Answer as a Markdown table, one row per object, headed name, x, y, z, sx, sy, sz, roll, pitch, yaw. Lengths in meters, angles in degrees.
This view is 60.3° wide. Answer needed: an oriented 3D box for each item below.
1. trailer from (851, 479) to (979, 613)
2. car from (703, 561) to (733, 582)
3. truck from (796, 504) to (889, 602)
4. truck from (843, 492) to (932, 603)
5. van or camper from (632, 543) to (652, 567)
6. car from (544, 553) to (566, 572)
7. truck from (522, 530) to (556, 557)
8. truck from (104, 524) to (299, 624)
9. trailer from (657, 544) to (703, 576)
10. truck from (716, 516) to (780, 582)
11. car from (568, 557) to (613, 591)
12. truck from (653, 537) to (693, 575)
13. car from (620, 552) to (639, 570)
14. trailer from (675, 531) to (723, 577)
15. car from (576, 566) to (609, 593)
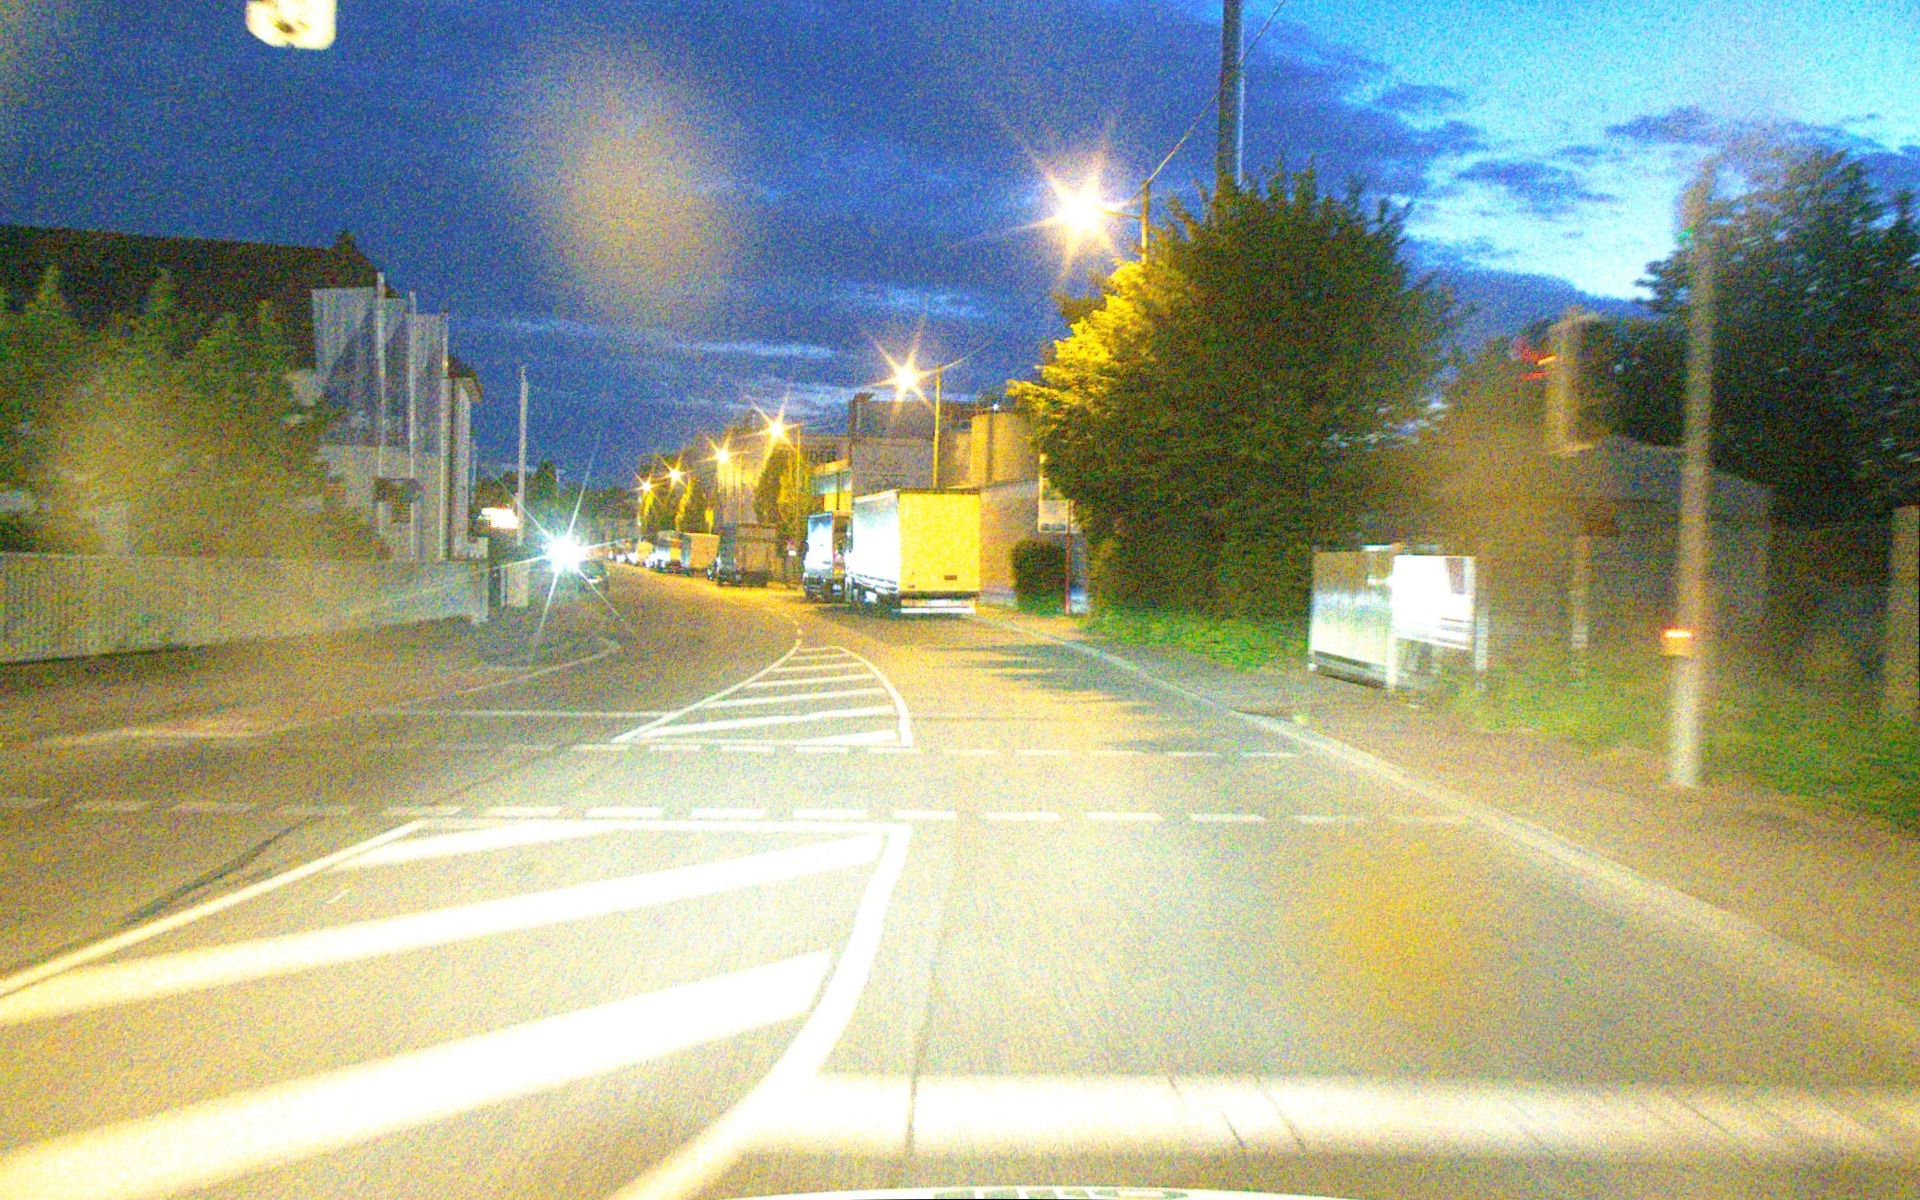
| name | x | y | z | sx | sy | sz | roll | pitch | yaw |
| --- | --- | --- | --- | --- | --- | --- | --- | --- | --- |
| trailer | -1.823 | -1.762 | 57.131 | 2.756 | 4.052 | 13.948 | 0 | 1 | -9 |
| car | -17.757 | -2.082 | 121.258 | 1.821 | 1.545 | 3.804 | 0 | 1 | -14 |
| truck | -5.396 | -2.049 | 74.021 | 2.780 | 4.052 | 10.312 | 0 | 1 | -12 |
| truck | -2.882 | -1.992 | 63.918 | 2.778 | 4.052 | 6.038 | 0 | 1 | -9 |
| van or camper | -36.329 | -5.182 | 188.998 | 1.960 | 2.626 | 4.897 | 1 | 1 | -14 |
| car | -39.215 | -3.639 | 160.002 | 1.960 | 1.825 | 3.985 | 1 | 1 | -15 |
| truck | -59.892 | -8.058 | 235.280 | 3.833 | 3.684 | 8.212 | 1 | 1 | -20 |
| truck | -16.125 | -0.547 | 35.500 | 1.954 | 1.933 | 5.313 | 2 | 1 | -4 |
| trailer | -25.374 | -3.606 | 149.634 | 3.131 | 2.796 | 10.673 | 0 | 1 | -15 |
| truck | -13.733 | -3.211 | 106.525 | 3.458 | 4.052 | 10.315 | 0 | 1 | -11 |
| car | -19.316 | -1.352 | 86.325 | 1.961 | 1.665 | 4.753 | 2 | 1 | -16 |
| truck | -27.192 | -4.111 | 156.504 | 3.099 | 3.523 | 6.647 | 0 | 1 | -15 |
| car | -41.702 | -4.876 | 208.606 | 1.960 | 2.183 | 3.985 | 1 | 1 | -15 |
| trailer | -21.169 | -3.685 | 133.918 | 2.644 | 3.524 | 7.772 | 2 | 1 | -17 |
| car | -20.439 | -1.135 | 91.948 | 1.575 | 1.377 | 3.984 | 2 | 1 | -15 |
